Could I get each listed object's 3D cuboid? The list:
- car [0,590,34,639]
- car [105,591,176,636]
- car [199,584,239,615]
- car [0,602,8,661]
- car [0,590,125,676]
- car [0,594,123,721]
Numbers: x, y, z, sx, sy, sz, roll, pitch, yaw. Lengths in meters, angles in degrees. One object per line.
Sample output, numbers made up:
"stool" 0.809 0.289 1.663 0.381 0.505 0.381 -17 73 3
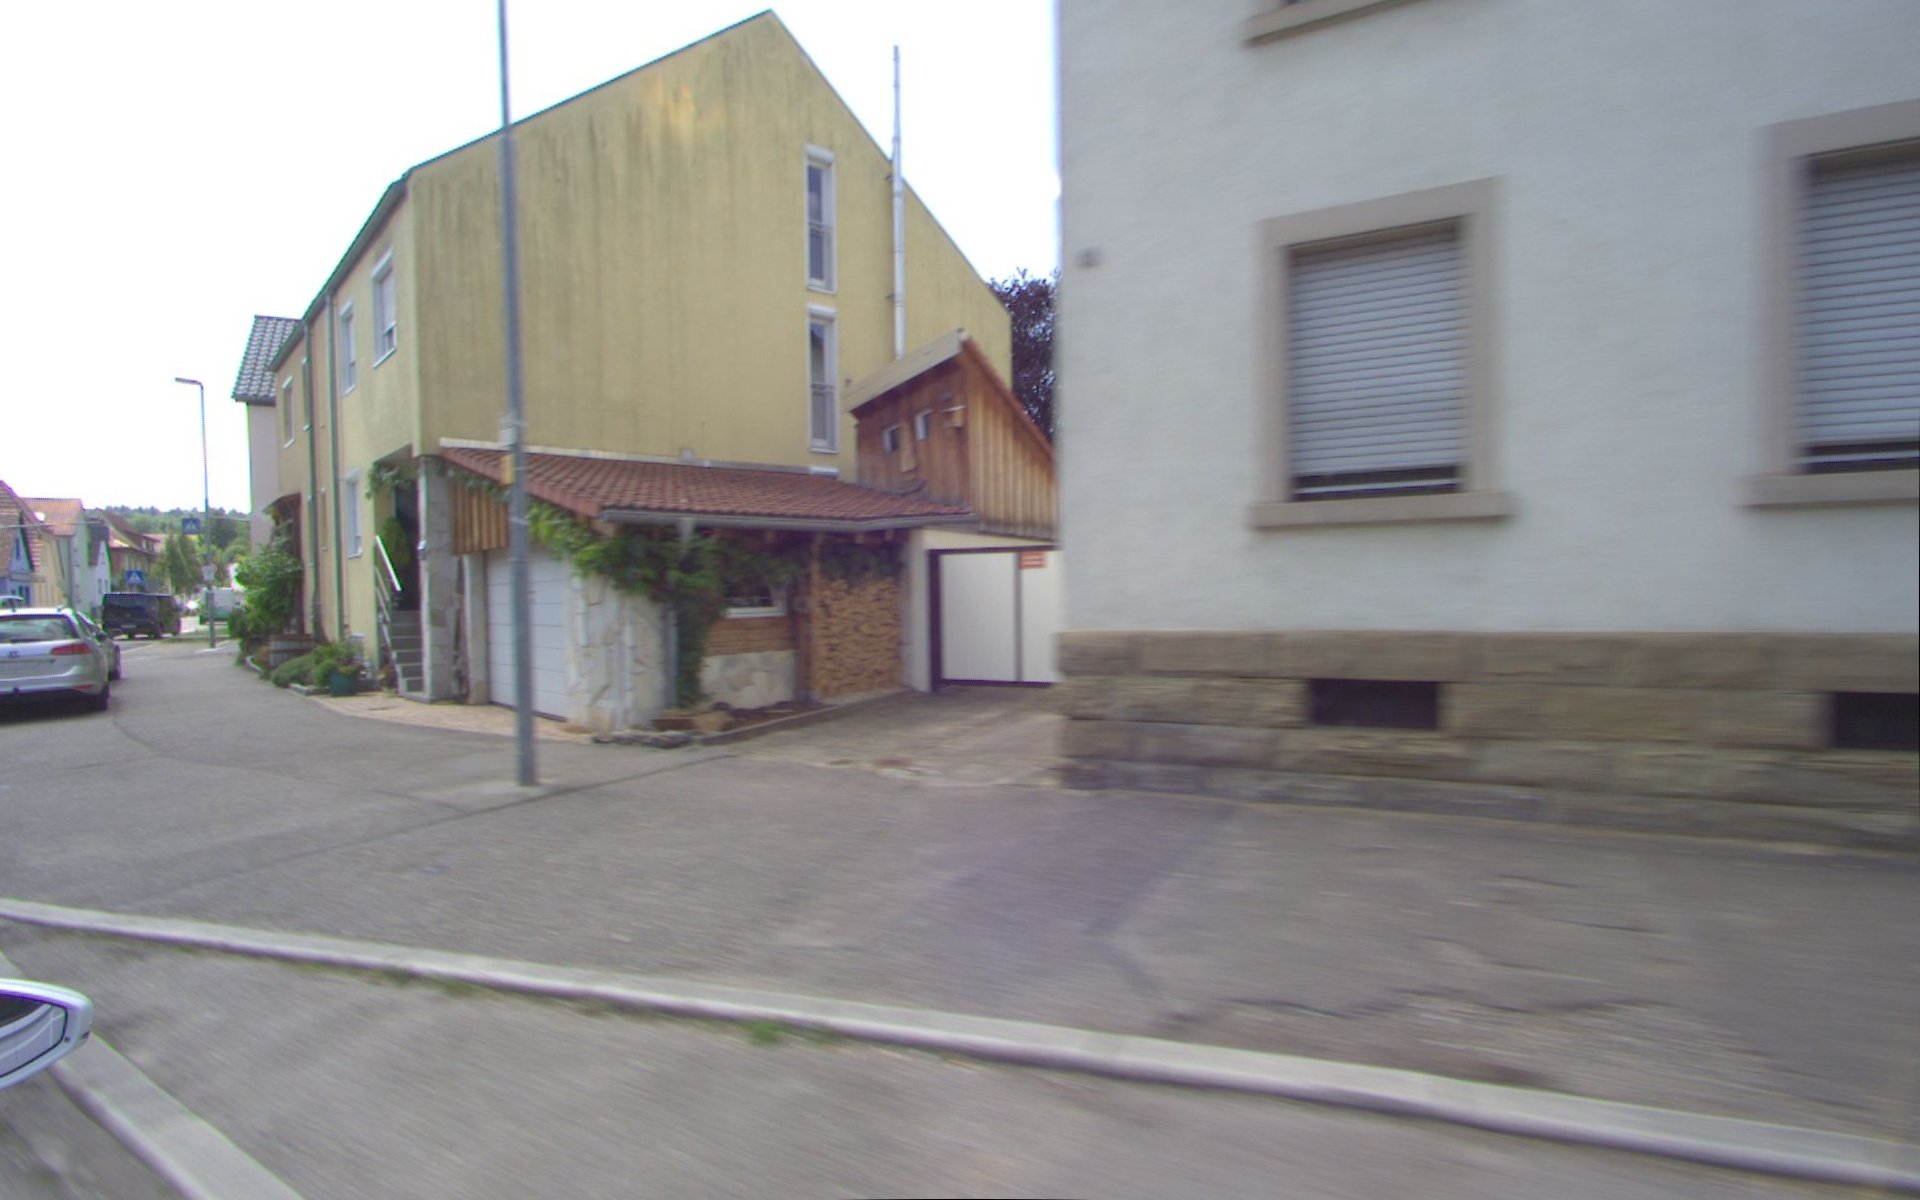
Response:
"car" -38.147 0.620 39.287 1.974 1.823 4.904 0 -2 -35
"car" -35.319 0.624 43.246 1.974 1.839 3.976 0 -2 -33
"car" -51.822 0.002 70.065 1.973 2.039 3.977 0 -2 -33
"car" -24.463 0.782 24.302 1.737 1.434 3.966 0 -2 -41
"car" -17.990 0.663 20.104 1.870 1.549 3.967 0 -2 -40
"car" -13.415 0.757 14.399 1.870 1.551 4.295 -4 2 -42
